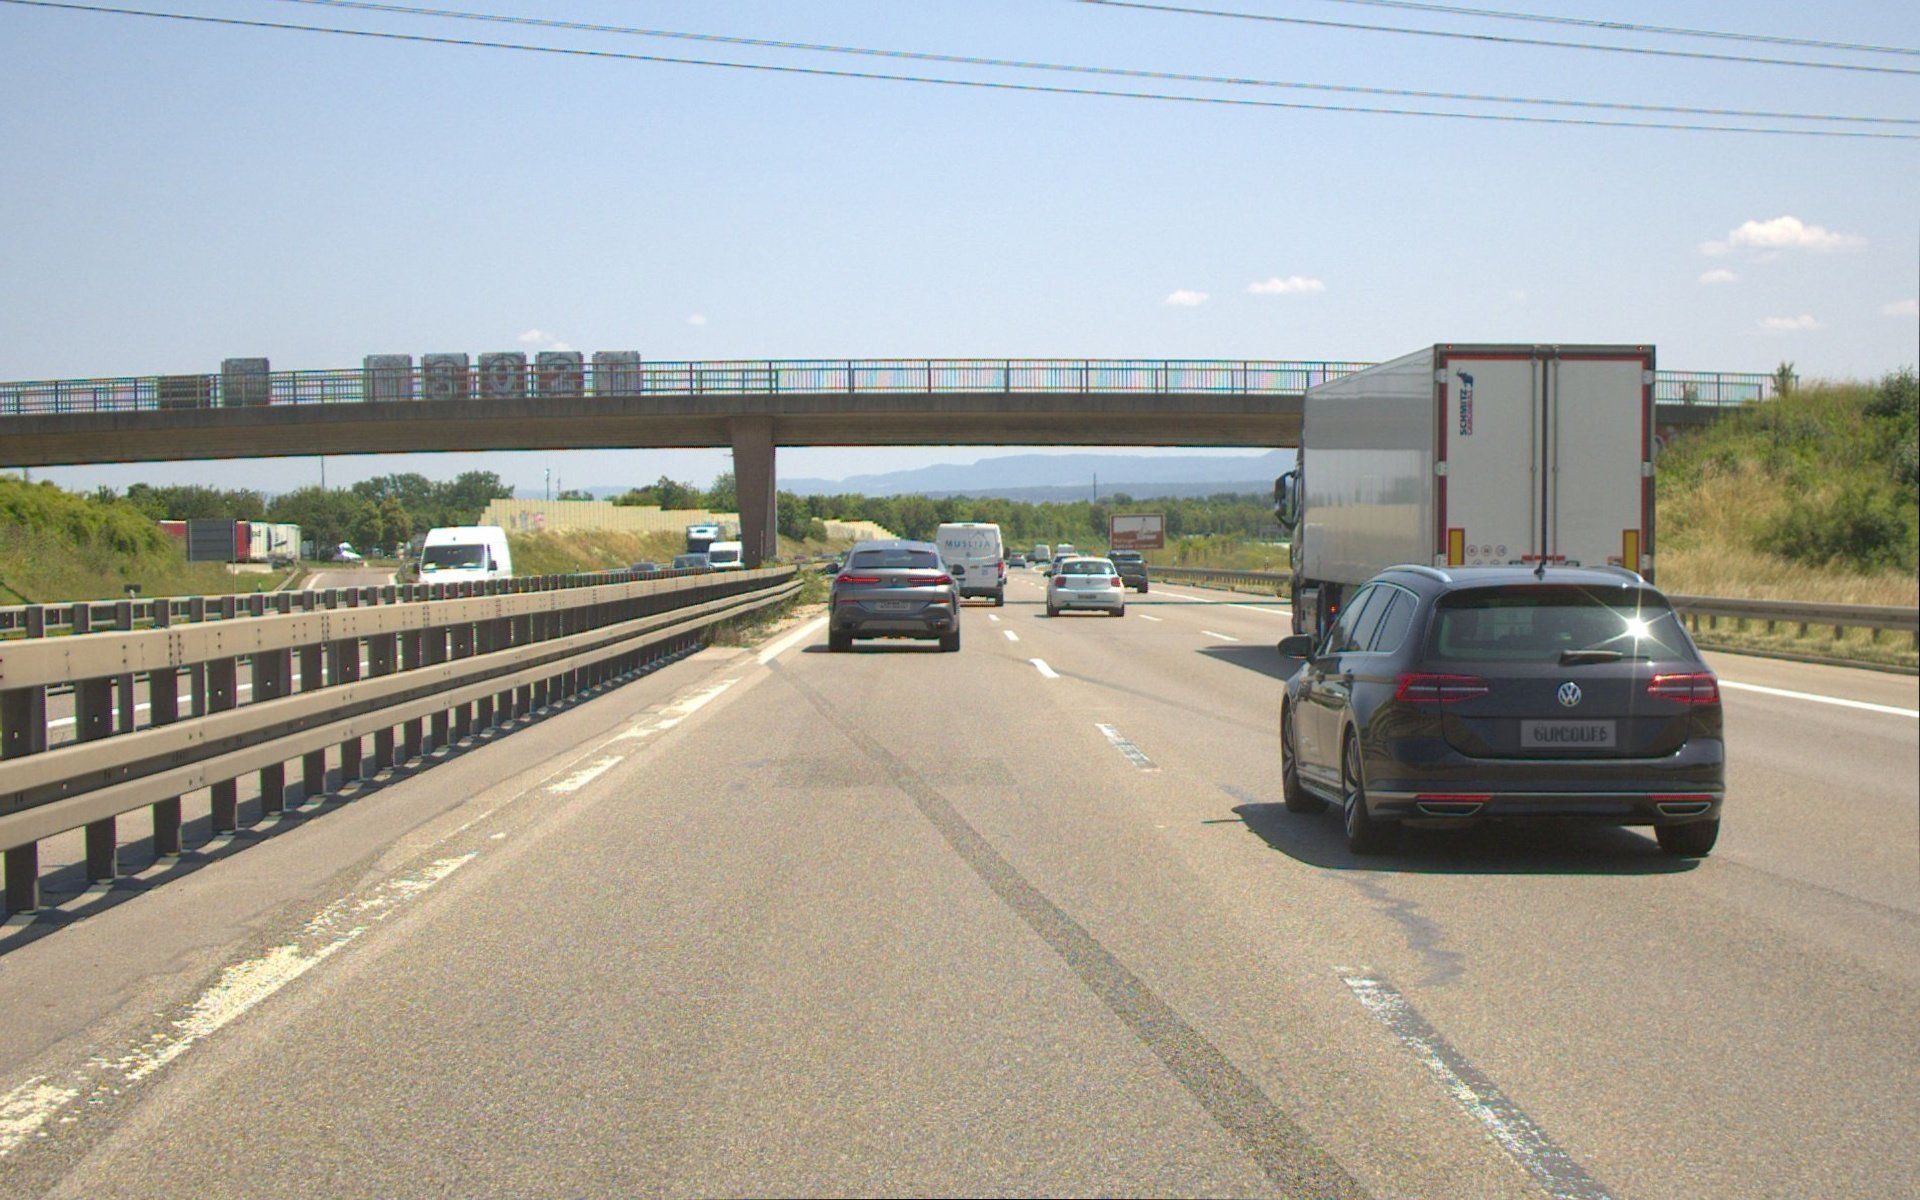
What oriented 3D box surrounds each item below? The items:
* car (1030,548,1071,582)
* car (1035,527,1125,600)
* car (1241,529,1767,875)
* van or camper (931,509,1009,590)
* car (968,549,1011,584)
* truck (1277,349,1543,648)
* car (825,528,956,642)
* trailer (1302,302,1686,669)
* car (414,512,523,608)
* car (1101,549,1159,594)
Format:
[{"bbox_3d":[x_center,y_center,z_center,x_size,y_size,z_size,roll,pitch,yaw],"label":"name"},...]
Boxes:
[{"bbox_3d":[4.658,-1.805,177.215,1.993,1.677,4.000,1,1,0],"label":"car"},{"bbox_3d":[2.861,-0.888,82.665,1.993,1.677,4.000,1,1,0],"label":"car"},{"bbox_3d":[2.712,0.439,18.328,1.933,1.569,4.935,1,1,-1],"label":"car"},{"bbox_3d":[0.264,-1.443,97.798,2.110,2.204,5.266,1,1,0],"label":"van or camper"},{"bbox_3d":[1.438,-1.650,167.731,1.993,1.677,4.000,1,1,0],"label":"car"},{"bbox_3d":[6.761,-1.500,52.838,2.979,4.213,7.687,1,1,0],"label":"truck"},{"bbox_3d":[-1.098,-0.246,52.738,1.851,1.658,3.735,1,1,-3],"label":"car"},{"bbox_3d":[6.832,-1.405,46.407,2.943,4.184,13.597,1,1,0],"label":"trailer"},{"bbox_3d":[-13.879,-1.143,97.466,2.032,2.596,7.601,1,1,-1],"label":"car"},{"bbox_3d":[6.510,-1.108,132.354,1.993,1.677,4.000,1,1,0],"label":"car"}]
